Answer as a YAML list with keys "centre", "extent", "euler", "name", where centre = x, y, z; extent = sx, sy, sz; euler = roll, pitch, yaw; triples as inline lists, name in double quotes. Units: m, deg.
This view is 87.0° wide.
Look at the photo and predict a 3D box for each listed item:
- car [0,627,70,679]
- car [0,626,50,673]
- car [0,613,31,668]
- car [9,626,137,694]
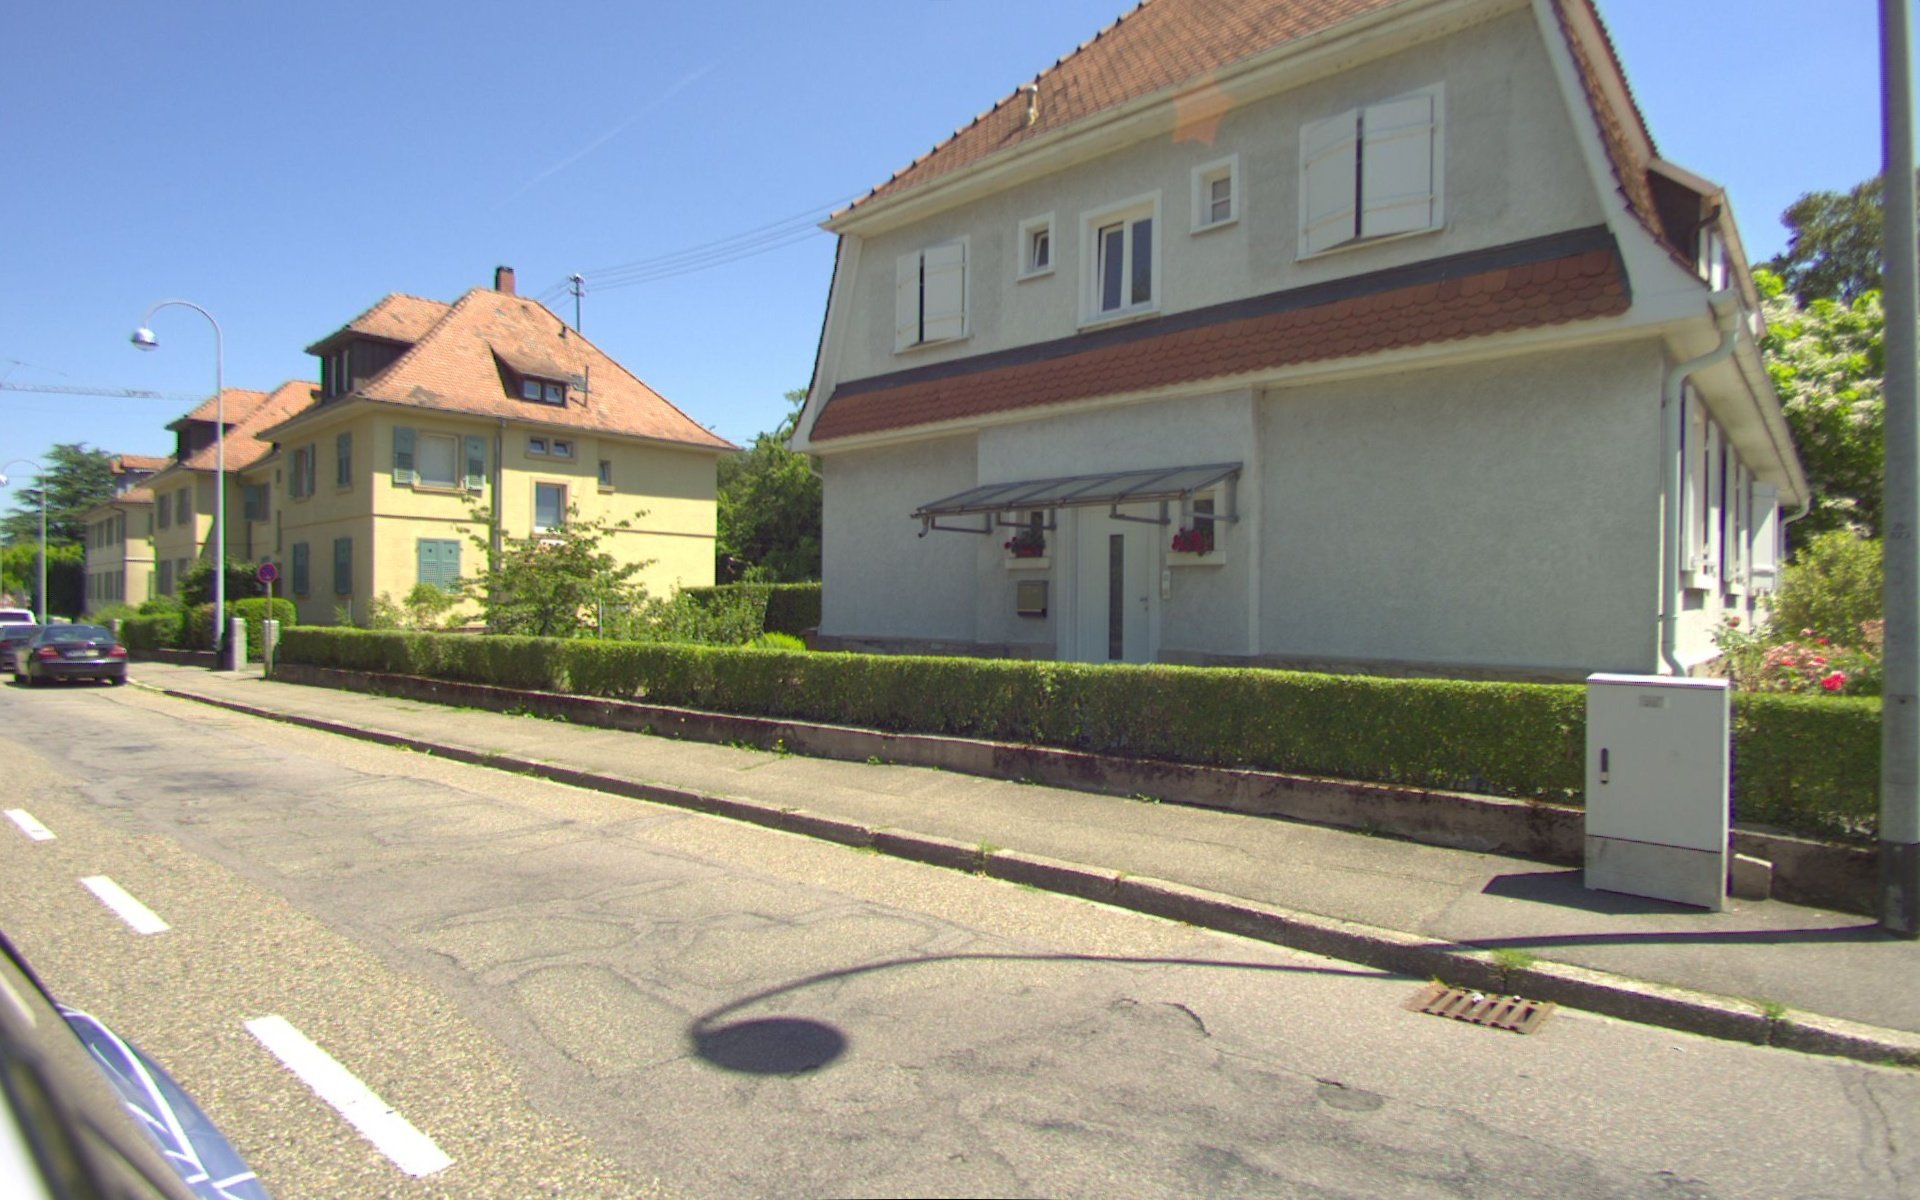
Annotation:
- centre: [-27.391, 1.511, 29.594]
  extent: [4.001, 1.409, 1.729]
  euler: [-2, -3, 44]
  name: "car"
- centre: [-31.250, 1.594, 33.202]
  extent: [4.000, 1.447, 1.730]
  euler: [-1, -2, 44]
  name: "car"
- centre: [-34.883, 1.453, 36.448]
  extent: [3.999, 1.911, 1.730]
  euler: [-2, -3, 42]
  name: "car"
- centre: [-20.456, 1.326, 23.297]
  extent: [3.999, 1.409, 1.730]
  euler: [-1, -3, 42]
  name: "car"
